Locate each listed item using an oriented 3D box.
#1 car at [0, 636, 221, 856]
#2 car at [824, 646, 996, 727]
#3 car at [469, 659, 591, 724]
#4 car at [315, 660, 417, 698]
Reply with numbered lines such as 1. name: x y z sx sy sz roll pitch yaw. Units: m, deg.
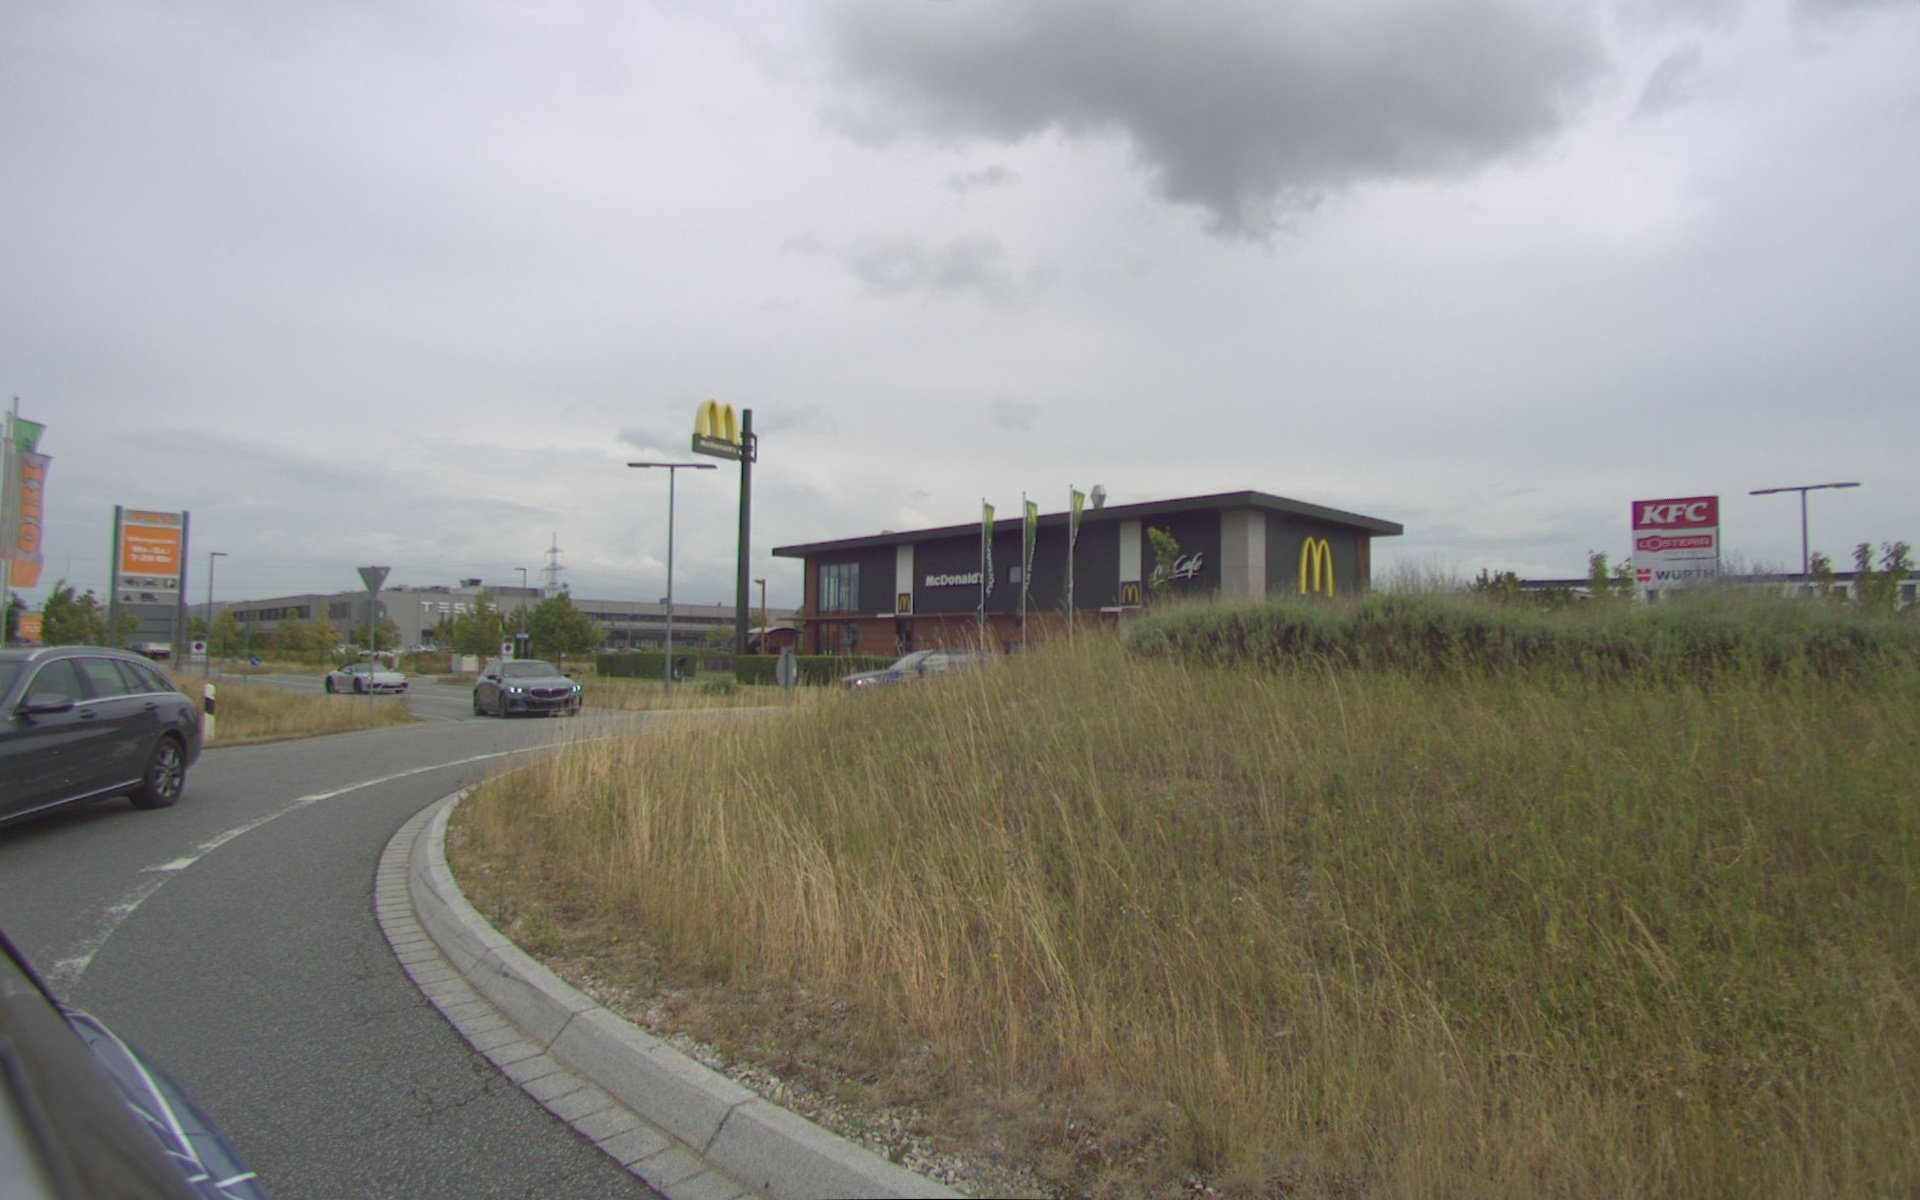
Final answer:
1. car: -7.683 1.052 7.568 1.876 1.509 4.349 0 -3 -13
2. car: -1.266 2.141 25.849 3.931 1.732 1.849 -2 -1 -29
3. car: -11.532 2.368 26.982 1.966 1.516 4.316 1 -3 -38
4. car: -25.269 3.304 42.982 4.720 1.408 1.808 -1 -2 33
